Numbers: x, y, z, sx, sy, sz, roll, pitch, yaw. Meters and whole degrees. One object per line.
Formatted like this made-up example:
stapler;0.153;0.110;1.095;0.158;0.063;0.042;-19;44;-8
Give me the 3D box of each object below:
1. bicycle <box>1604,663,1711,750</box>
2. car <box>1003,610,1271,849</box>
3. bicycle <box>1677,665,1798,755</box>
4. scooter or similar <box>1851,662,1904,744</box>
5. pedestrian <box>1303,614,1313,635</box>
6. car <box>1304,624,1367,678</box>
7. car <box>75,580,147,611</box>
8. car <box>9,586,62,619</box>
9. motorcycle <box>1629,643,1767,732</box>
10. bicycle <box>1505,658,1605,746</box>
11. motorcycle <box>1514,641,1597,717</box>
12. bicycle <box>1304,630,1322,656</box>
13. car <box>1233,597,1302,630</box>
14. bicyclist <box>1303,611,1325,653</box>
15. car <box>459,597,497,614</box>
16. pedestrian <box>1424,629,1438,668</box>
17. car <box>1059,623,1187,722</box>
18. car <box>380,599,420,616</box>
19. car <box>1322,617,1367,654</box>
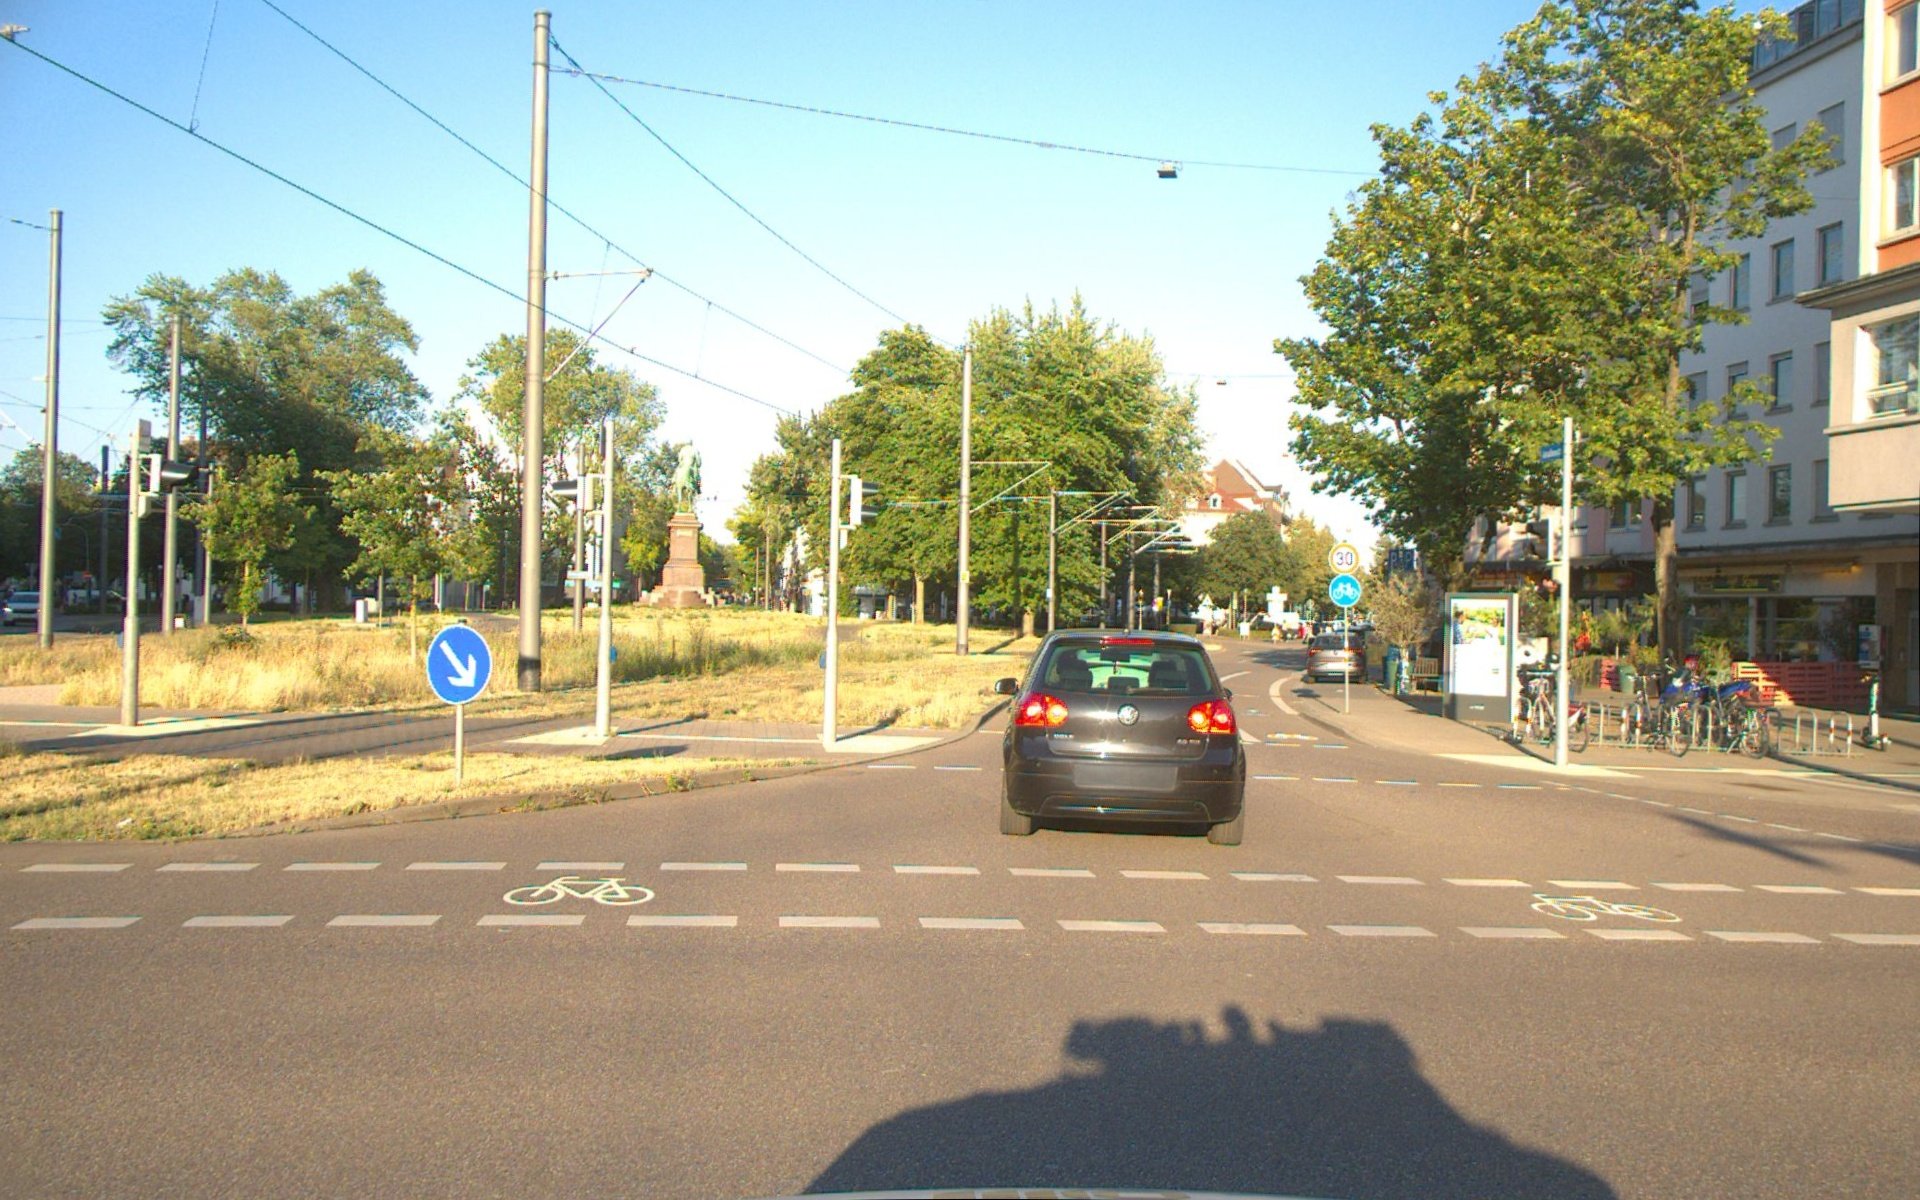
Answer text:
bicycle;10.478;1.578;24.914;0.632;1.146;1.872;1;1;-6
car;1.311;0.859;12.913;1.711;1.486;4.105;2;0;4
bicycle;11.755;1.637;25.086;0.632;1.178;2.121;1;1;-6
scooter or similar;15.113;1.678;27.258;0.406;1.276;1.184;1;0;11
pedestrian;26.175;1.857;124.371;0.720;1.582;0.632;2;-1;12
car;11.138;1.472;48.917;1.691;1.498;3.902;-1;-1;15
car;-57.856;-0.289;112.836;4.240;2.005;1.762;1;0;-25
car;-44.970;0.123;80.521;1.746;1.508;4.279;1;0;-23
motorcycle;12.587;1.489;28.249;2.002;1.431;0.760;2;0;0
bicycle;8.854;1.500;24.681;0.632;1.146;1.872;1;1;-6
motorcycle;10.886;1.431;30.290;0.652;1.264;2.200;1;0;-2
bicycle;14.163;1.724;66.299;0.566;1.004;1.937;2;0;15
car;26.782;1.188;144.054;5.412;2.640;2.149;2;-1;-11
bicyclist;14.183;1.289;66.306;0.760;1.646;1.026;2;0;15
car;-44.734;0.521;153.532;3.279;1.533;1.654;1;0;-12
pedestrian;21.794;2.243;76.525;0.609;1.771;0.662;-2;-1;17
car;2.884;1.188;28.565;1.825;1.466;4.201;0;1;11
car;-51.315;0.685;151.550;3.279;1.385;1.516;1;0;-12
car;17.185;1.547;73.772;1.744;1.584;4.237;-1;-1;16
